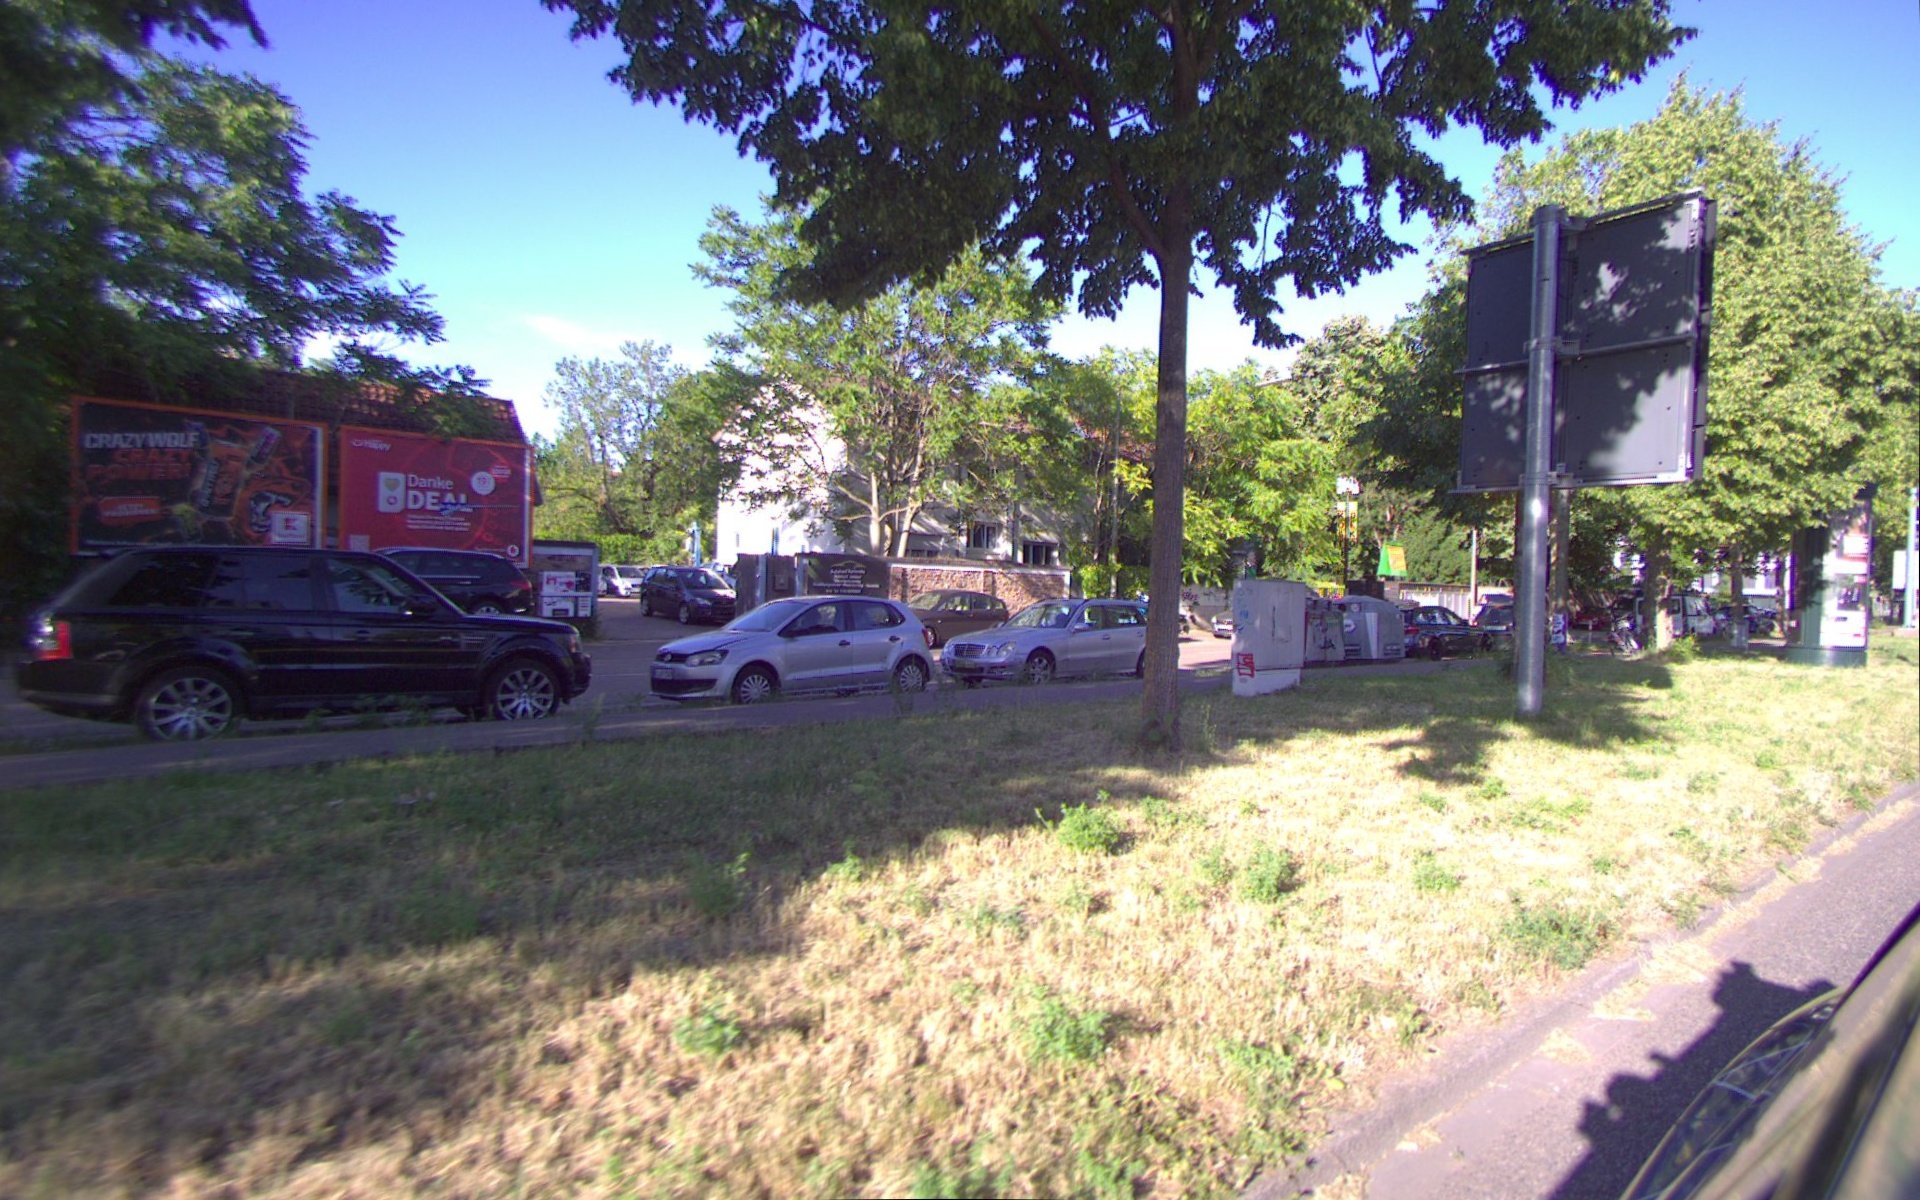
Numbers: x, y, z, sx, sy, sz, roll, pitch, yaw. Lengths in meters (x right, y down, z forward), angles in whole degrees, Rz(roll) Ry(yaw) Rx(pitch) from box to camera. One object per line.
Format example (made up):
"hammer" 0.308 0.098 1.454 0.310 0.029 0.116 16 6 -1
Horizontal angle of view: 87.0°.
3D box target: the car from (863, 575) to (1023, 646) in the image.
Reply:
"car" -0.401 0.232 27.011 3.934 1.659 1.996 0 4 -44

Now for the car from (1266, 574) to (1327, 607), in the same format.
"car" 21.730 -0.604 65.261 3.929 2.039 1.998 0 0 -40

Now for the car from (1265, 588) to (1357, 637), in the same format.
"car" 13.679 0.447 39.373 1.996 1.626 3.423 7 5 45

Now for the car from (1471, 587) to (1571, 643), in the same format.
"car" 16.111 0.396 29.031 2.938 1.519 1.664 0 0 -42

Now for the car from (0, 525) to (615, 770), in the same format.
"car" -6.073 0.341 9.852 4.808 1.843 1.874 0 0 -41

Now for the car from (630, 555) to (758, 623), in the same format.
"car" -7.973 -0.384 30.161 3.989 1.765 1.874 5 3 44

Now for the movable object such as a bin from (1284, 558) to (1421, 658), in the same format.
"movable object such as a bin" 8.612 0.161 22.225 2.099 2.039 2.085 0 0 -41

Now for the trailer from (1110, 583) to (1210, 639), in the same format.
"trailer" 6.601 0.333 33.413 2.970 1.660 1.734 0 4 -41

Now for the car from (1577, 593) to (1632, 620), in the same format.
"car" 39.149 0.382 61.424 3.690 1.490 1.695 0 3 -40

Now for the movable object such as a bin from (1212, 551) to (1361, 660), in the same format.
"movable object such as a bin" 6.581 0.087 20.417 2.099 2.039 2.085 0 0 -41

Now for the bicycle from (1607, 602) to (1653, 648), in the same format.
"bicycle" 15.946 0.576 24.069 1.872 1.060 0.493 0 0 -44

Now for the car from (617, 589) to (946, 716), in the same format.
"car" -2.234 0.572 13.334 1.872 1.407 3.935 0 0 45

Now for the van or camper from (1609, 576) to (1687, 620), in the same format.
"van or camper" 46.023 -0.117 67.667 6.448 2.717 2.563 1 3 -40

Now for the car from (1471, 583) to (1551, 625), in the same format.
"car" 28.816 0.191 52.873 4.855 2.039 2.091 0 1 -40

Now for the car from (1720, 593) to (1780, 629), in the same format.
"car" 38.774 0.527 49.660 4.280 1.662 1.738 -1 0 -44

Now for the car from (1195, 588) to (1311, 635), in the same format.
"car" 10.595 0.375 36.465 4.249 1.501 1.998 0 3 -41

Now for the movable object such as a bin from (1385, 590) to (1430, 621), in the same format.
"movable object such as a bin" 22.876 0.256 51.767 1.645 1.487 1.462 5 3 44

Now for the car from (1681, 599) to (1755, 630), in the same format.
"car" 33.656 0.602 44.895 3.985 1.306 1.995 0 0 -44

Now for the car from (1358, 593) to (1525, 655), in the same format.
"car" 12.124 0.539 25.349 4.660 1.402 2.004 0 0 -39

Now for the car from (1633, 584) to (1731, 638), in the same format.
"car" 29.213 0.399 40.852 5.723 2.039 2.191 0 0 -44

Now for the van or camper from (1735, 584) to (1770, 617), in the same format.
"van or camper" 71.858 0.019 91.757 1.993 2.764 4.889 5 4 42

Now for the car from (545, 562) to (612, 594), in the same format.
"car" -18.343 -1.025 48.576 1.870 1.438 3.995 0 0 -39

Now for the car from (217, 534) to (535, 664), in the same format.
"car" -10.296 -0.075 18.086 4.612 2.027 1.873 0 3 -44

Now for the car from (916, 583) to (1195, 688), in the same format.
"car" 1.756 0.503 17.175 4.970 1.543 1.873 0 0 -42
